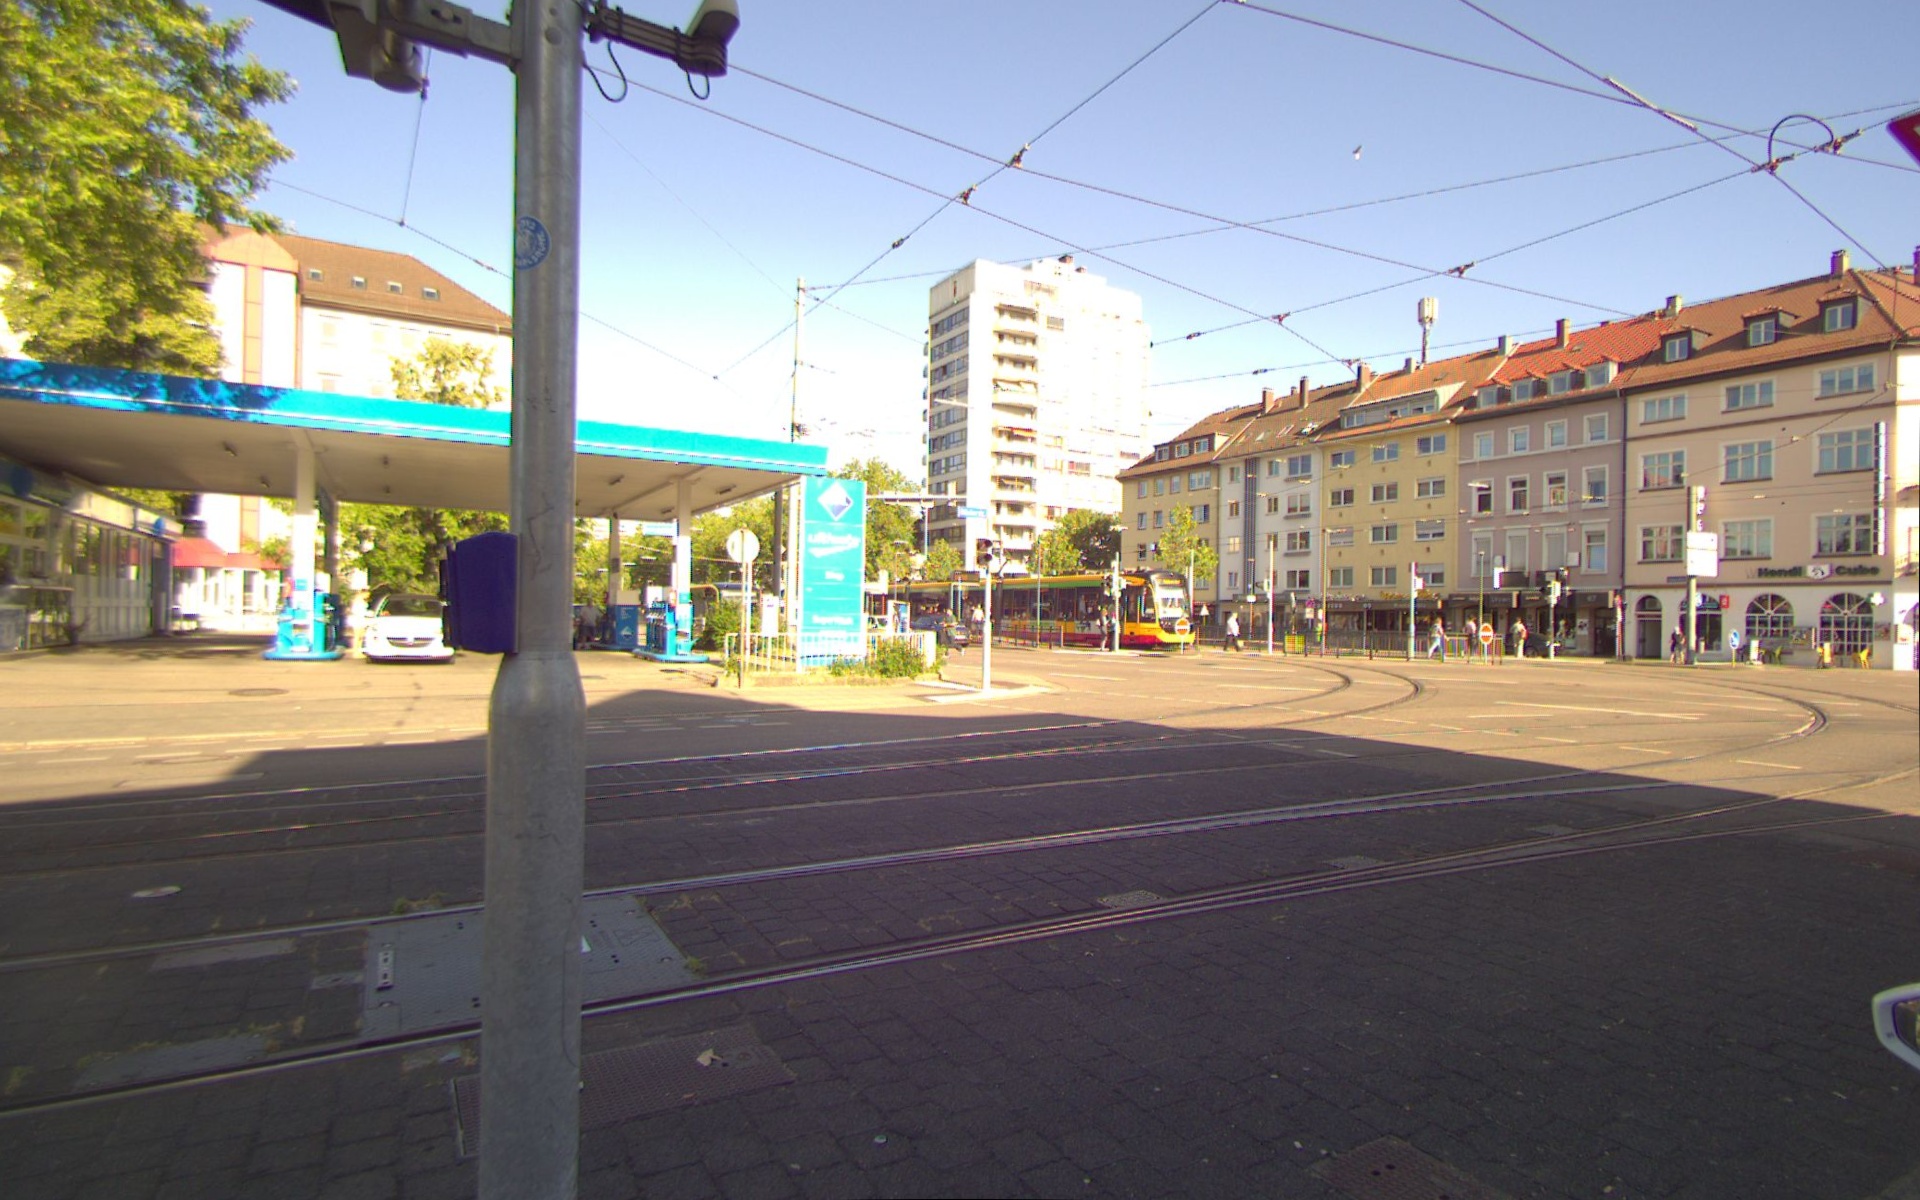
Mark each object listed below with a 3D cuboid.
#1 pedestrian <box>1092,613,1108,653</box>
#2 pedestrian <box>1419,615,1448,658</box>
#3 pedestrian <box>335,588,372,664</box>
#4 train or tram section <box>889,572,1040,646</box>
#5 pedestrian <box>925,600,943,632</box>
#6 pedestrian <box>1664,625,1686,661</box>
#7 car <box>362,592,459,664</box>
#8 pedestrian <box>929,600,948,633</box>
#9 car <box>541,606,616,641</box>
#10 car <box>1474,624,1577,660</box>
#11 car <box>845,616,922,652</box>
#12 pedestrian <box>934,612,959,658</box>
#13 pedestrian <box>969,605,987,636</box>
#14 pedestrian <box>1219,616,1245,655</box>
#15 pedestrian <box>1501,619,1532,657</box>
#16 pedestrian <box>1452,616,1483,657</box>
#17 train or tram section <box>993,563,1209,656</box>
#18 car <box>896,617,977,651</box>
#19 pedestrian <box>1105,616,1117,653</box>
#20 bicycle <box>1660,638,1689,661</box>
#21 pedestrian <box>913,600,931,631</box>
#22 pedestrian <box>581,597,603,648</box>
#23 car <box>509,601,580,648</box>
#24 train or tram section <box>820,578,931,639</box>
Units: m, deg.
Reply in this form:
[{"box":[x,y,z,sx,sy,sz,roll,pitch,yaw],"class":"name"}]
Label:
[{"box":[5.848,1.390,41.964,0.626,1.666,0.462,0,0,6],"class":"pedestrian"},{"box":[18.302,1.408,38.828,0.817,1.598,0.552,2,0,-2],"class":"pedestrian"},{"box":[-13.883,0.591,23.003,0.640,1.724,0.497,1,-1,-26],"class":"pedestrian"},{"box":[-0.089,0.545,59.112,2.907,3.864,12.719,1,-1,-30],"class":"train or tram section"},{"box":[-1.494,0.895,56.659,0.747,1.756,0.797,0,0,-28],"class":"pedestrian"},{"box":[34.196,2.072,48.036,0.743,1.692,0.579,2,0,-30],"class":"pedestrian"},{"box":[-12.205,0.602,22.349,1.737,1.461,3.543,1,-1,-29],"class":"car"},{"box":[-1.160,0.896,54.830,0.747,1.756,0.797,0,0,-28],"class":"pedestrian"},{"box":[-16.869,1.039,44.600,1.722,1.461,3.572,1,-1,5],"class":"car"},{"box":[30.817,2.288,54.843,2.277,1.734,4.350,2,0,-27],"class":"car"},{"box":[-3.595,1.550,46.736,1.871,1.550,3.963,1,-1,-33],"class":"car"},{"box":[-0.508,1.288,37.423,0.752,1.702,0.555,1,-1,-33],"class":"pedestrian"},{"box":[0.916,1.053,51.939,0.607,1.598,0.827,0,0,-27],"class":"pedestrian"},{"box":[11.727,1.527,43.345,0.867,1.598,0.665,2,0,-2],"class":"pedestrian"},{"box":[24.400,1.666,44.037,0.821,1.598,0.847,2,0,-20],"class":"pedestrian"},{"box":[20.457,1.477,40.489,0.821,1.598,0.724,2,0,-20],"class":"pedestrian"},{"box":[6.209,0.478,47.997,2.907,3.864,12.950,1,-1,-30],"class":"train or tram section"},{"box":[-1.168,1.613,48.366,1.875,1.550,3.955,1,-2,-39],"class":"car"},{"box":[6.145,1.403,40.964,0.472,1.525,0.462,0,0,6],"class":"pedestrian"},{"box":[34.174,2.368,48.028,1.479,1.091,0.570,2,0,-30],"class":"bicycle"},{"box":[-2.129,0.874,56.434,0.747,1.756,0.797,0,0,-28],"class":"pedestrian"},{"box":[-12.529,0.753,34.198,0.493,1.724,0.497,0,-1,43],"class":"pedestrian"},{"box":[-13.556,0.781,32.675,1.737,1.461,3.543,1,-1,-29],"class":"car"},{"box":[-6.132,0.607,69.836,2.907,3.864,12.025,1,-1,-30],"class":"train or tram section"}]
